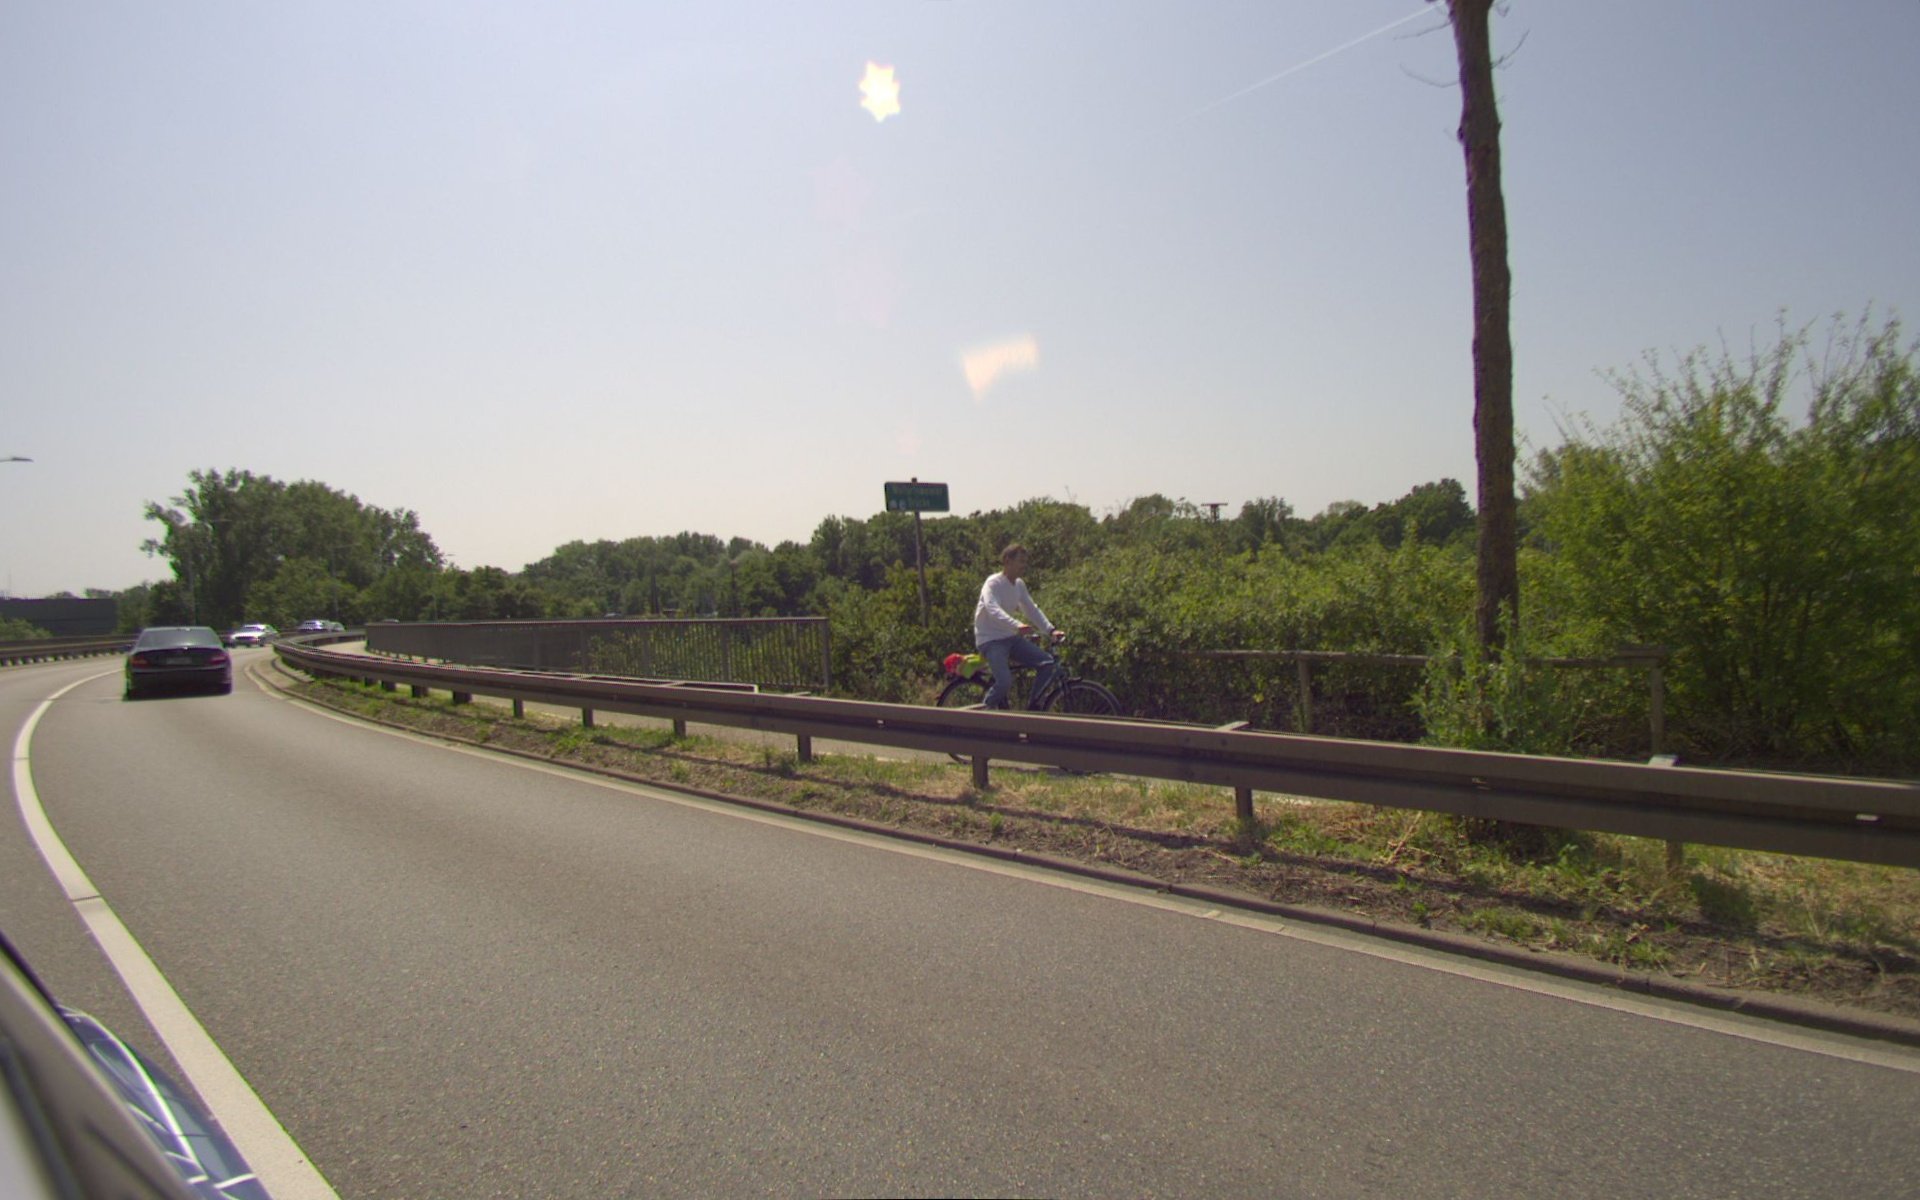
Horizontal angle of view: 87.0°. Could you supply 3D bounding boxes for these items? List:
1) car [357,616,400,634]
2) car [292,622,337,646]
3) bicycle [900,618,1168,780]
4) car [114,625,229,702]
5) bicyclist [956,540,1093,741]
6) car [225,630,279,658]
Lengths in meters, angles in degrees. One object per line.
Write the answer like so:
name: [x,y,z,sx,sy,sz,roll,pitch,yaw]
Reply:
car: [-47.682,2.032,83.101,1.780,1.427,4.368,-1,0,-12]
car: [-41.415,2.135,65.034,1.778,1.427,4.372,-1,-1,-24]
bicycle: [0.536,0.717,7.947,2.042,1.125,0.727,-1,-2,37]
car: [-16.959,1.280,21.724,1.781,1.427,4.365,-1,-1,-39]
bicyclist: [0.507,0.316,7.986,0.823,1.477,0.722,-2,-3,37]
car: [-44.397,2.735,63.528,1.734,1.510,4.247,-1,1,-21]
